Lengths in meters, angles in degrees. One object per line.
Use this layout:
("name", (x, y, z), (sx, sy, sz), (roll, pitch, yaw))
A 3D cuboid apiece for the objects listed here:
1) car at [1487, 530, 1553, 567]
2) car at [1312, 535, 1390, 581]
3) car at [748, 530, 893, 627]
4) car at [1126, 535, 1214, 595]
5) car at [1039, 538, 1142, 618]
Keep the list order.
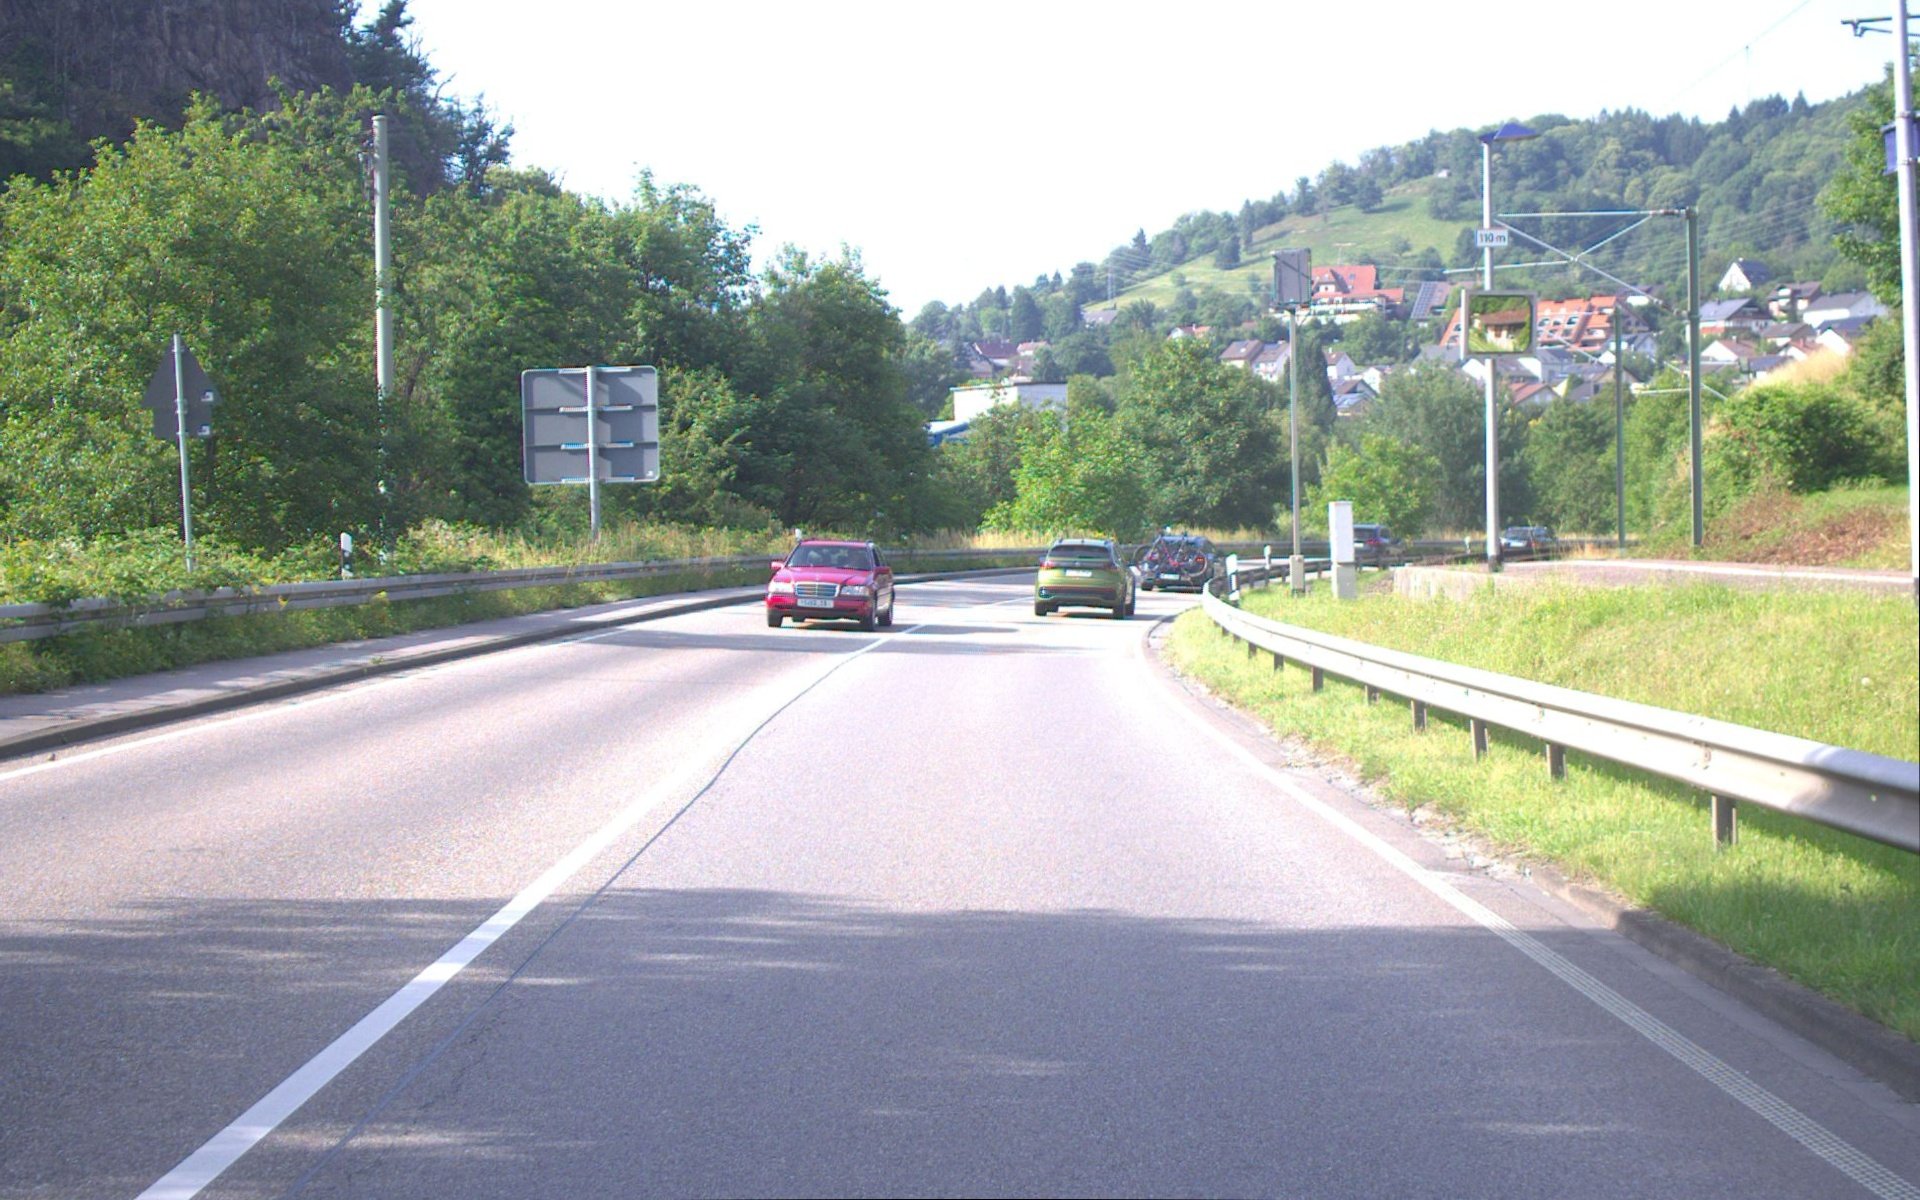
("car", (22.883, -2.099, 140.341), (1.810, 1.403, 3.769), (-1, 1, 22))
("car", (13.357, -1.438, 117.297), (1.808, 1.448, 3.643), (-1, 1, 20))
("car", (-2.244, -0.386, 56.585), (1.842, 1.464, 4.943), (2, 1, 3))
("car", (5.404, -0.910, 88.061), (1.841, 1.454, 3.712), (-1, 1, 10))
("car", (2.556, -0.452, 66.478), (1.729, 1.452, 3.410), (-1, 1, 6))
